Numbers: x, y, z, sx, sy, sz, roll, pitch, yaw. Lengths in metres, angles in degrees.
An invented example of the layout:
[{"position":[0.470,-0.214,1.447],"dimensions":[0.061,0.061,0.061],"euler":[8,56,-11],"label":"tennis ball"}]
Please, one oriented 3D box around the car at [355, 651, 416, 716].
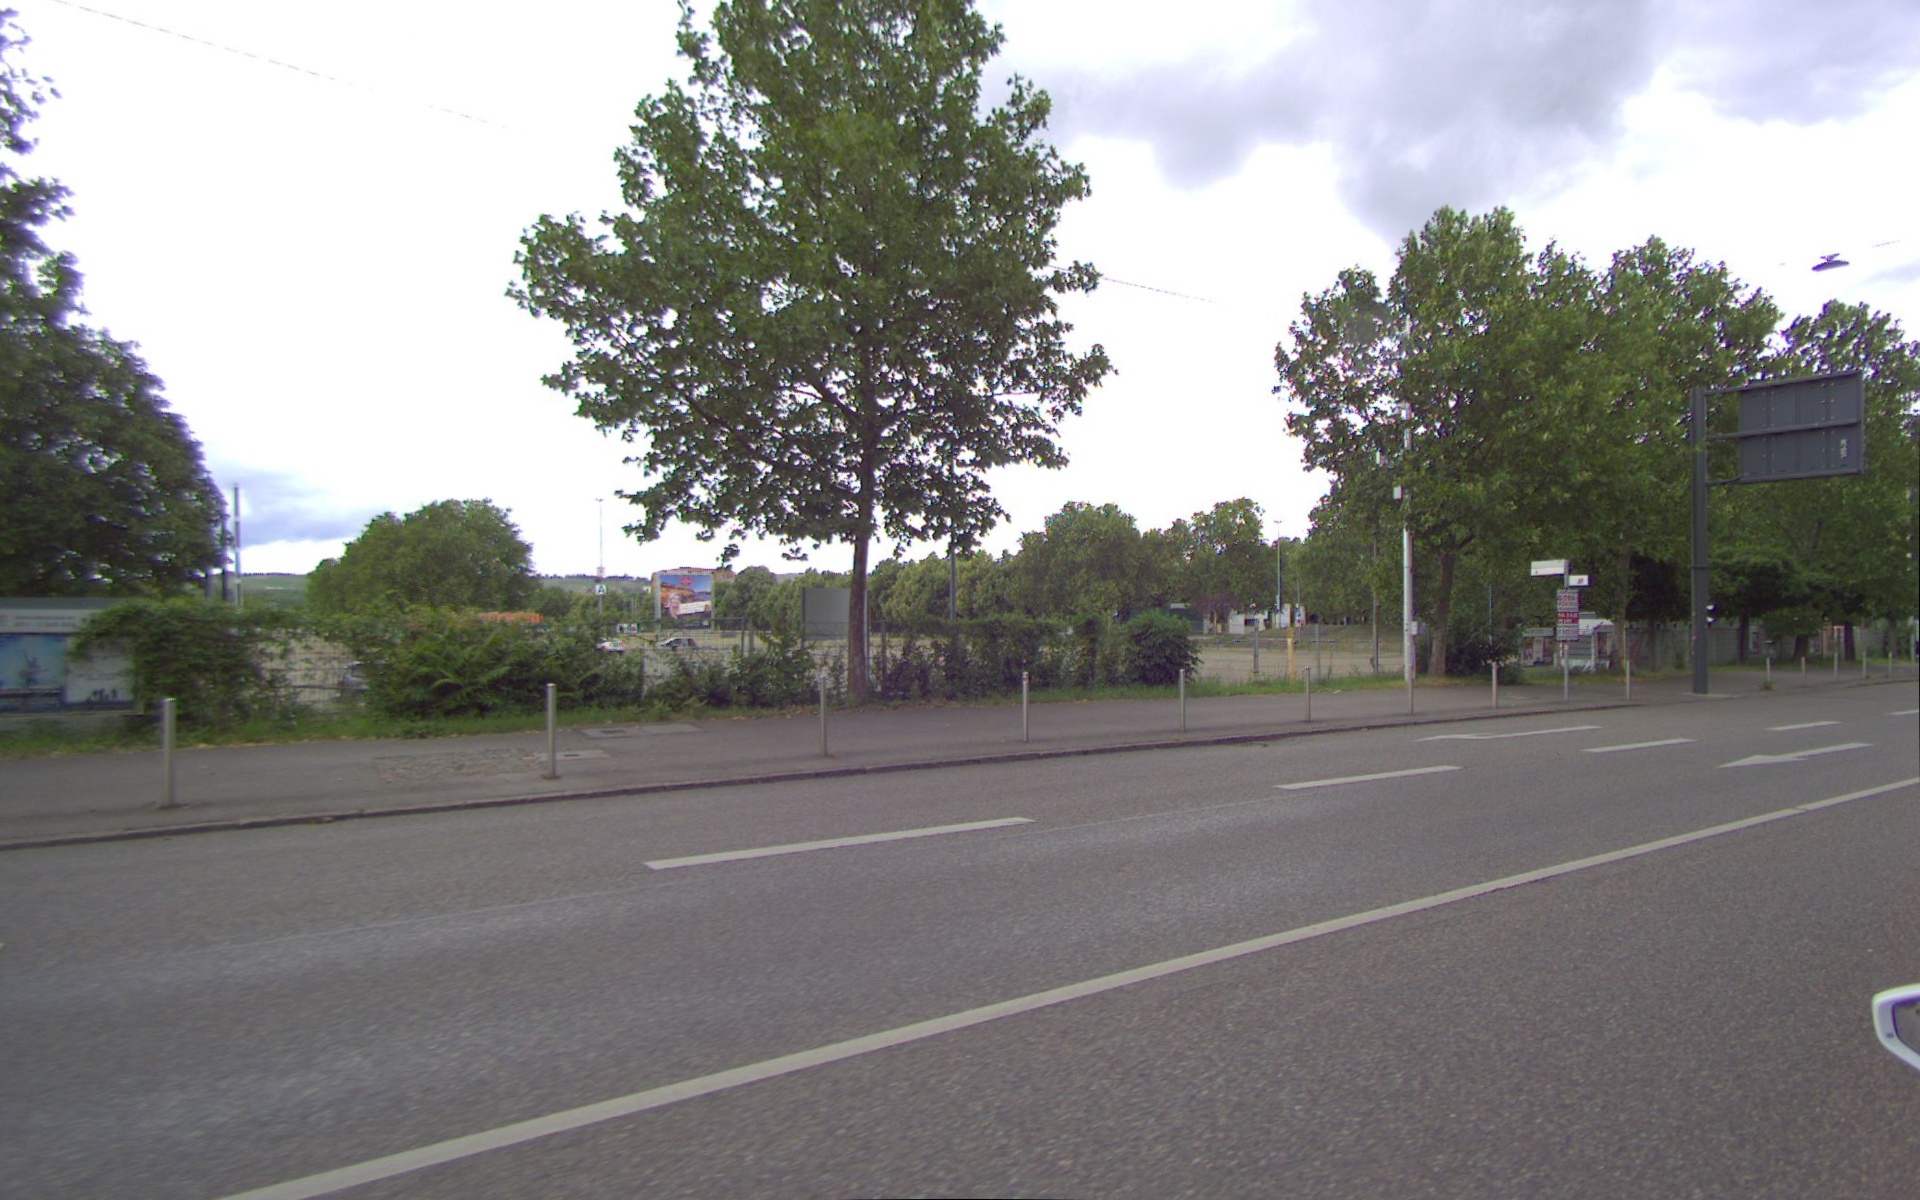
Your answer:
[{"position":[-20.341,2.894,35.667],"dimensions":[1.755,1.885,3.970],"euler":[1,0,-28],"label":"car"}]
